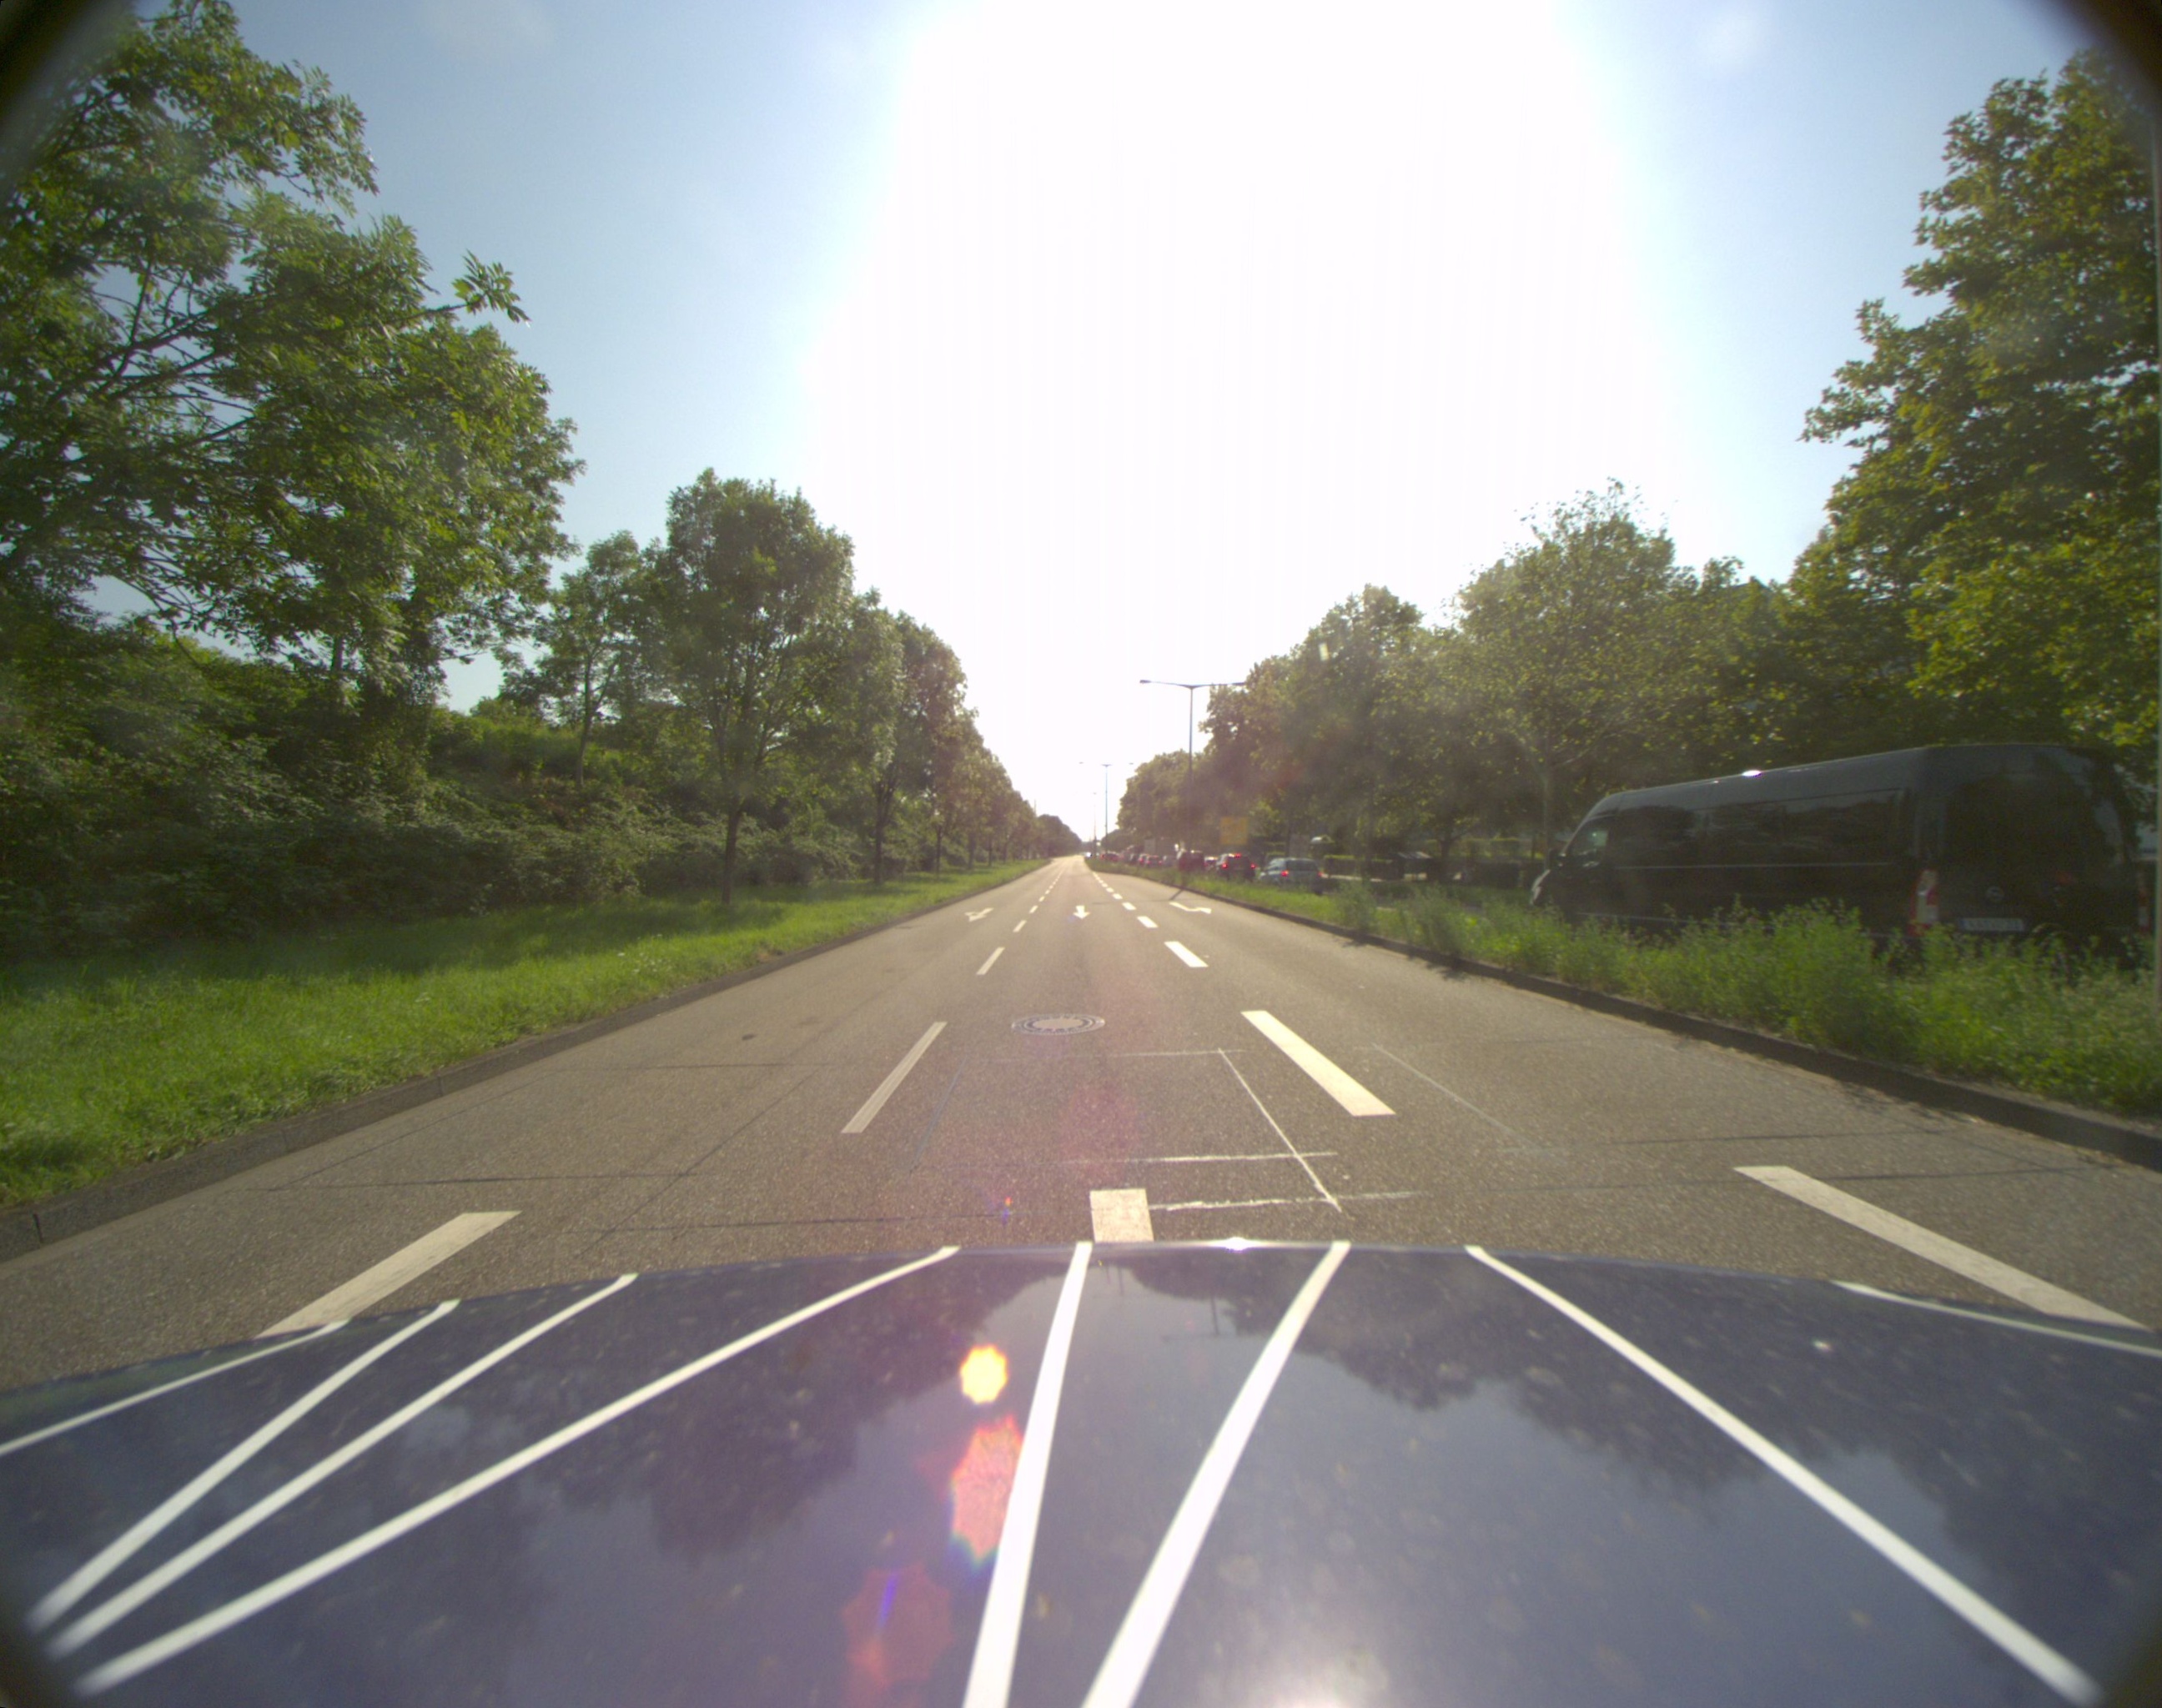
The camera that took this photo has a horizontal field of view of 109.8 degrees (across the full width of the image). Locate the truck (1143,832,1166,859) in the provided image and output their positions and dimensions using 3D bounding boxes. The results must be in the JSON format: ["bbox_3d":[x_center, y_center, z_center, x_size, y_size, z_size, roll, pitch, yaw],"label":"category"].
[{"bbox_3d":[10.624,-1.233,109.937,2.614,3.797,5.890,1,0,0],"label":"truck"}]

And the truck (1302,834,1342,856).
[{"bbox_3d":[32.437,-1.223,102.230,5.916,2.844,2.233,-1,1,-38],"label":"truck"}]

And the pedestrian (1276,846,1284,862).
[{"bbox_3d":[21.063,-0.016,80.441,0.618,1.643,0.933,-1,1,-1],"label":"pedestrian"}]

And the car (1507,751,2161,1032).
[{"bbox_3d":[8.204,0.299,9.527,2.117,2.319,6.281,-1,0,-1],"label":"car"}]

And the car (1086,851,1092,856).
[{"bbox_3d":[2.340,-0.231,218.585,1.544,1.433,3.396,0,-1,3],"label":"car"}]

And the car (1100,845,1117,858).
[{"bbox_3d":[4.035,-0.381,112.500,1.999,1.749,4.475,1,0,-3],"label":"car"}]

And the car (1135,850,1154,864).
[{"bbox_3d":[7.290,0.296,87.565,1.884,1.584,4.108,0,0,-1],"label":"car"}]

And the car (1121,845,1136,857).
[{"bbox_3d":[7.339,-0.466,117.346,1.999,1.942,5.035,0,0,-1],"label":"car"}]

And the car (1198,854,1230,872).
[{"bbox_3d":[10.902,0.710,62.464,1.795,1.473,3.999,0,0,-2],"label":"car"}]

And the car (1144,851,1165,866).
[{"bbox_3d":[7.488,0.451,77.773,1.681,1.477,3.492,-1,0,-1],"label":"car"}]

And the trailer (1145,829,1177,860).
[{"bbox_3d":[10.634,-1.218,102.287,2.640,3.799,13.809,1,0,0],"label":"trailer"}]

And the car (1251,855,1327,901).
[{"bbox_3d":[7.863,0.858,29.044,1.778,1.565,3.999,-1,0,0],"label":"car"}]

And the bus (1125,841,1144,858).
[{"bbox_3d":[9.840,-0.841,140.476,2.597,3.061,12.311,-1,0,0],"label":"bus"}]

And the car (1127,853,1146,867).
[{"bbox_3d":[7.177,0.743,98.329,1.999,1.749,4.306,1,0,-1],"label":"car"}]

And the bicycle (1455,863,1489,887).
[{"bbox_3d":[18.538,0.988,36.064,0.650,1.101,1.800,0,0,-1],"label":"bicycle"}]

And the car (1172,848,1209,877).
[{"bbox_3d":[7.968,0.598,55.849,1.937,2.016,4.566,-1,0,-1],"label":"car"}]

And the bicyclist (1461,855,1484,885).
[{"bbox_3d":[18.531,0.758,36.009,0.650,1.431,0.840,0,1,-1],"label":"bicyclist"}]

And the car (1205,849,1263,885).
[{"bbox_3d":[7.941,0.634,39.884,1.999,1.696,4.503,-1,0,-2],"label":"car"}]
